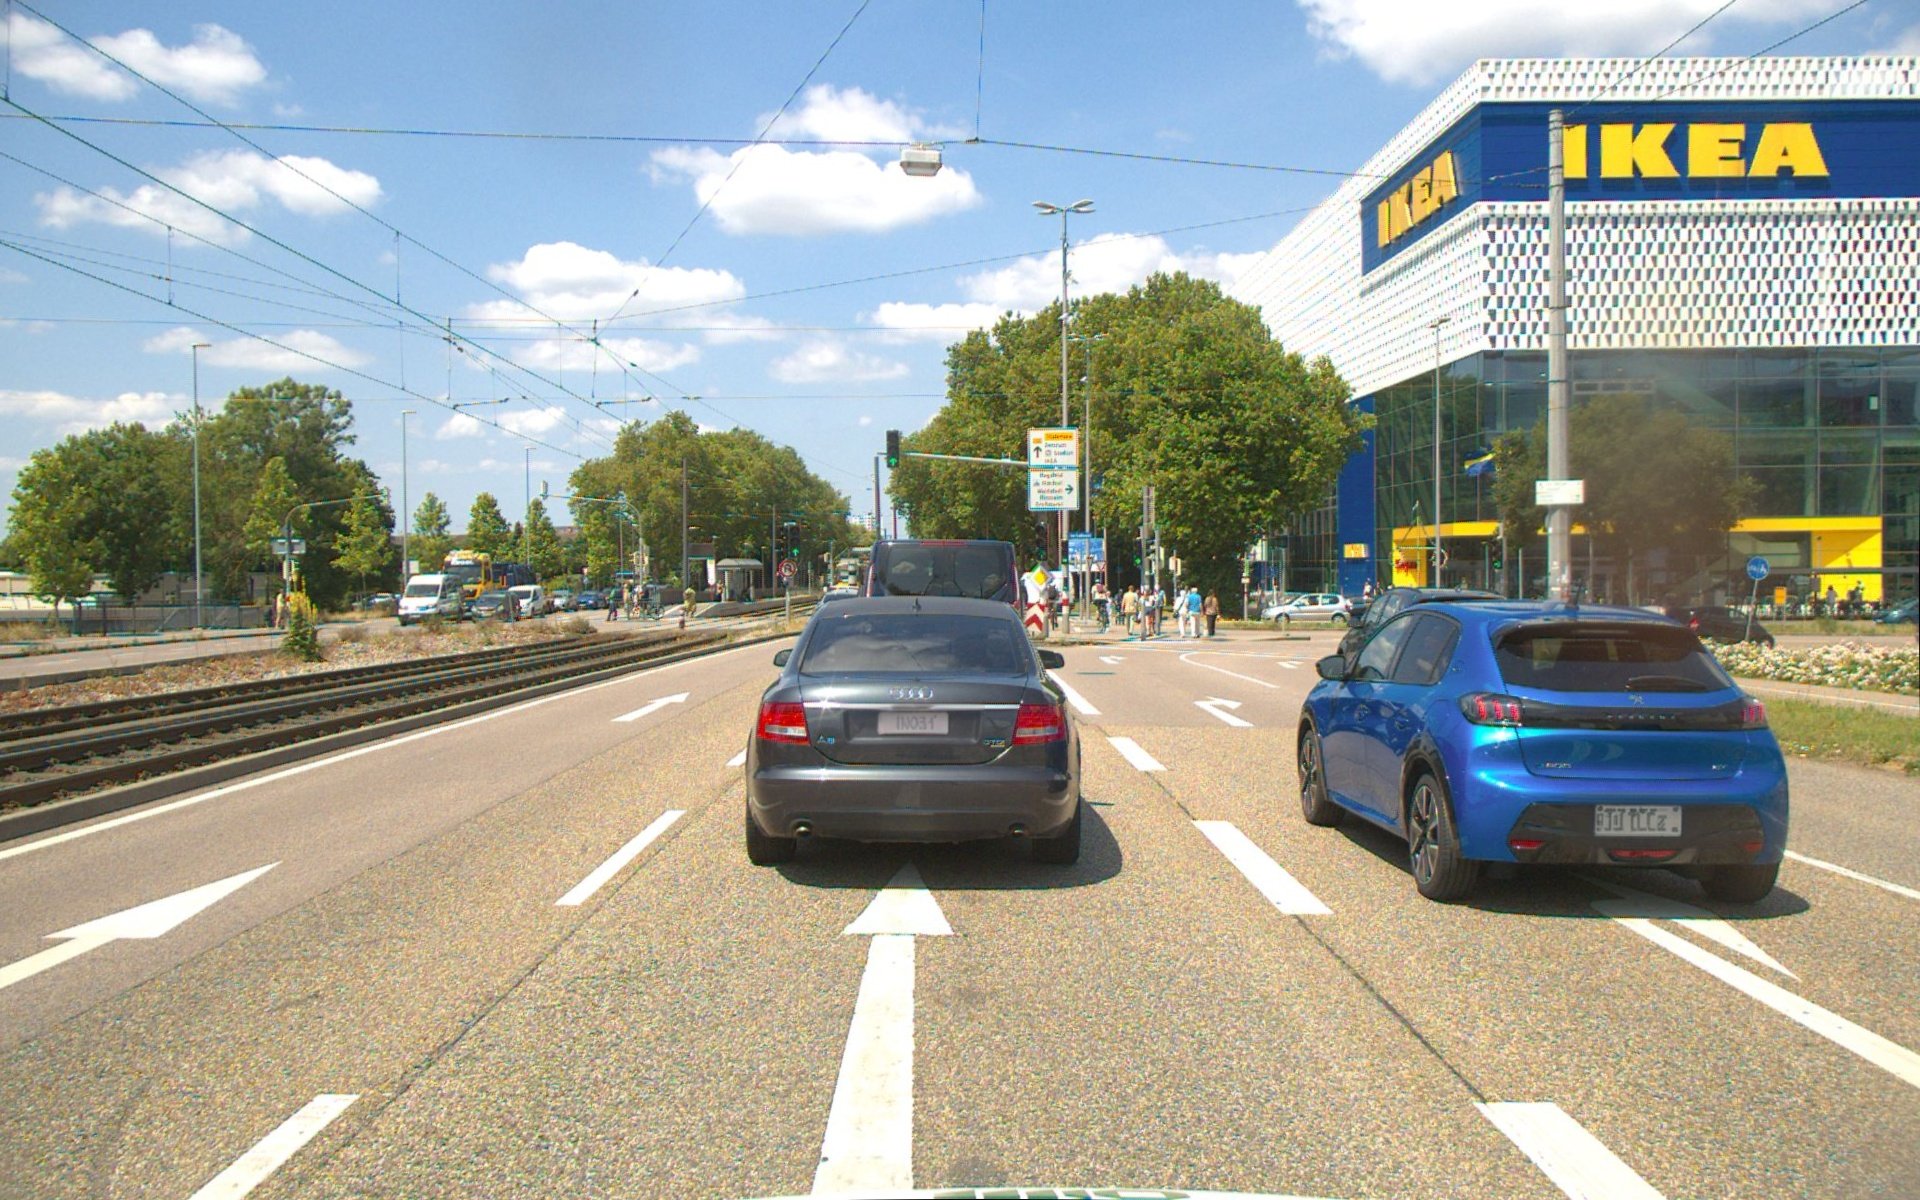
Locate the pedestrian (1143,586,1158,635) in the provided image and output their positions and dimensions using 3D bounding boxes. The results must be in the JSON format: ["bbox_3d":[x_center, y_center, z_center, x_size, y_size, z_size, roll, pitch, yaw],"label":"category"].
[{"bbox_3d":[6.538,0.362,56.777,0.435,1.663,0.430,1,0,2],"label":"pedestrian"}]

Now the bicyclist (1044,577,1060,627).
[{"bbox_3d":[3.388,0.063,61.132,0.518,1.820,1.088,0,0,0],"label":"bicyclist"}]

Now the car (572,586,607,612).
[{"bbox_3d":[-27.801,-0.108,124.239,1.781,1.916,3.999,0,0,-1],"label":"car"}]

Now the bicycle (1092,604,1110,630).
[{"bbox_3d":[5.192,0.618,60.939,0.538,0.892,1.697,1,0,1],"label":"bicycle"}]

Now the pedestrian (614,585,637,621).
[{"bbox_3d":[-16.487,0.141,81.534,0.806,1.750,0.775,1,0,21],"label":"pedestrian"}]

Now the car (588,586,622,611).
[{"bbox_3d":[-27.794,-0.122,129.558,1.781,1.916,3.999,0,0,-1],"label":"car"}]

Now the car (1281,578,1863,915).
[{"bbox_3d":[3.165,0.641,9.498,1.800,1.480,4.000,2,1,-1],"label":"car"}]

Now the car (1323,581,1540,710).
[{"bbox_3d":[6.122,0.529,21.958,1.725,1.553,4.099,0,1,0],"label":"car"}]

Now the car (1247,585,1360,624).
[{"bbox_3d":[14.561,0.178,70.269,4.403,1.512,2.001,2,1,3],"label":"car"}]

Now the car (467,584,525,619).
[{"bbox_3d":[-24.183,0.058,86.265,1.785,1.699,4.461,1,1,-1],"label":"car"}]

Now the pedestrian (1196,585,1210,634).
[{"bbox_3d":[8.263,0.330,56.239,0.389,1.663,0.371,1,0,2],"label":"pedestrian"}]

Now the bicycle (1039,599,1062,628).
[{"bbox_3d":[3.318,0.478,61.050,0.673,1.011,2.751,1,0,0],"label":"bicycle"}]

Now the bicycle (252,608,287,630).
[{"bbox_3d":[-32.590,0.903,78.054,1.461,1.004,0.485,1,0,-5],"label":"bicycle"}]

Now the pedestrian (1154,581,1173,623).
[{"bbox_3d":[9.193,0.090,74.689,0.671,1.878,0.706,1,0,25],"label":"pedestrian"}]

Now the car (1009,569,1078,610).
[{"bbox_3d":[4.819,-0.603,95.934,1.970,2.349,4.734,0,0,-27],"label":"car"}]

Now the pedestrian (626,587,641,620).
[{"bbox_3d":[-15.789,0.148,79.997,0.671,1.592,0.572,0,0,-4],"label":"pedestrian"}]

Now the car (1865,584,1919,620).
[{"bbox_3d":[42.528,0.115,73.339,3.710,1.512,2.001,2,1,3],"label":"car"}]

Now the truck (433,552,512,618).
[{"bbox_3d":[-28.035,-0.850,95.364,2.711,3.631,6.438,0,0,-1],"label":"truck"}]

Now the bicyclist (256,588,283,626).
[{"bbox_3d":[-32.576,0.337,78.053,1.097,1.805,0.340,1,0,-6],"label":"bicyclist"}]

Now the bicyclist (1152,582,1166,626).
[{"bbox_3d":[8.101,0.151,67.319,0.517,1.795,0.828,0,0,13],"label":"bicyclist"}]

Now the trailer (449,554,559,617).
[{"bbox_3d":[-28.159,-0.903,103.120,2.711,3.580,15.875,0,0,-1],"label":"trailer"}]

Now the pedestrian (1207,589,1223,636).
[{"bbox_3d":[9.205,0.445,59.643,0.510,1.699,0.494,1,0,2],"label":"pedestrian"}]

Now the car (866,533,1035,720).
[{"bbox_3d":[-0.133,0.274,19.590,1.799,1.984,3.999,0,0,-1],"label":"car"}]

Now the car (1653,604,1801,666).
[{"bbox_3d":[25.859,1.169,55.817,4.099,2.049,1.998,0,0,-4],"label":"car"}]

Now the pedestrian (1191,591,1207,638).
[{"bbox_3d":[8.626,0.513,59.648,0.493,1.663,0.449,1,0,2],"label":"pedestrian"}]

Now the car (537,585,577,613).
[{"bbox_3d":[-27.898,-0.075,114.590,1.781,1.916,3.999,0,0,-1],"label":"car"}]

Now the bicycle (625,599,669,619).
[{"bbox_3d":[-14.771,0.422,77.977,2.019,0.941,0.751,0,0,-11],"label":"bicycle"}]

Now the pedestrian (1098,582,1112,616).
[{"bbox_3d":[6.675,-0.049,75.969,0.483,1.546,0.707,1,0,17],"label":"pedestrian"}]

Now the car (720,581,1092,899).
[{"bbox_3d":[-0.277,0.646,9.917,1.756,1.480,4.000,-1,1,-1],"label":"car"}]

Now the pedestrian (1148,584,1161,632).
[{"bbox_3d":[6.752,0.285,57.409,0.373,1.663,0.377,1,0,2],"label":"pedestrian"}]

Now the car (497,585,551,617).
[{"bbox_3d":[-24.539,0.020,93.302,1.785,1.699,4.462,1,1,1],"label":"car"}]

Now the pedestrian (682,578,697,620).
[{"bbox_3d":[-13.330,-0.053,81.598,0.672,2.049,0.572,0,0,-5],"label":"pedestrian"}]

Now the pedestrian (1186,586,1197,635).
[{"bbox_3d":[7.849,0.351,56.178,0.314,1.663,0.377,1,0,2],"label":"pedestrian"}]

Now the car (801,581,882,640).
[{"bbox_3d":[-3.251,0.261,46.054,1.953,1.512,4.000,2,1,-1],"label":"car"}]

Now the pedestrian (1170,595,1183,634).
[{"bbox_3d":[7.370,0.499,56.301,0.365,1.326,0.365,1,0,2],"label":"pedestrian"}]

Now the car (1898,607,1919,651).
[{"bbox_3d":[35.721,1.091,58.522,4.079,1.512,1.995,1,1,-12],"label":"car"}]

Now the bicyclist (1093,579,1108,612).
[{"bbox_3d":[5.178,-0.167,60.927,0.461,1.214,0.791,0,0,0],"label":"bicyclist"}]

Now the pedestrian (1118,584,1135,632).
[{"bbox_3d":[5.722,0.271,56.840,0.542,1.663,0.433,1,0,2],"label":"pedestrian"}]

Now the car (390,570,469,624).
[{"bbox_3d":[-27.671,-0.209,86.514,2.198,2.634,6.233,-2,1,-2],"label":"car"}]

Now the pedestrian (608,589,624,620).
[{"bbox_3d":[-16.412,0.201,78.876,0.671,1.468,0.572,0,0,-4],"label":"pedestrian"}]
